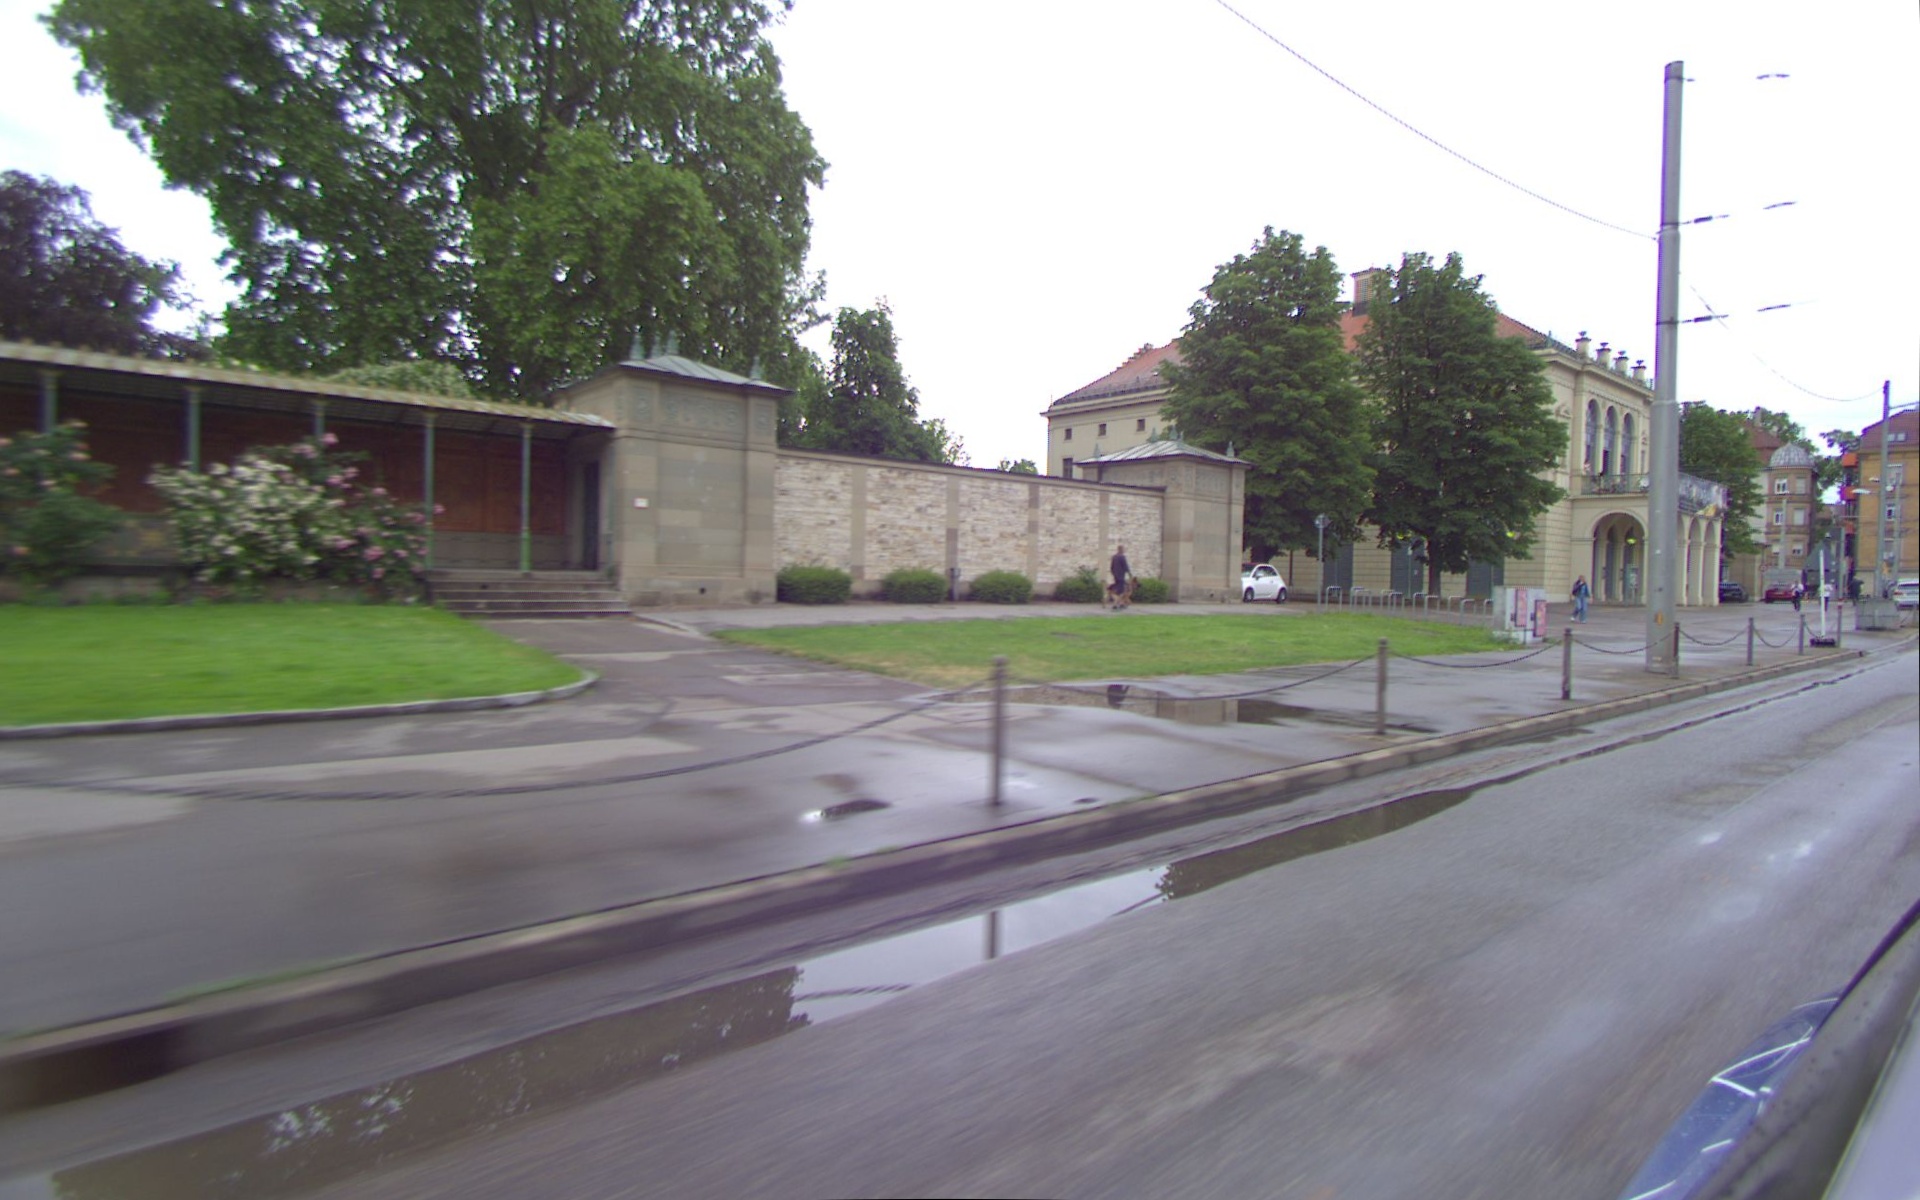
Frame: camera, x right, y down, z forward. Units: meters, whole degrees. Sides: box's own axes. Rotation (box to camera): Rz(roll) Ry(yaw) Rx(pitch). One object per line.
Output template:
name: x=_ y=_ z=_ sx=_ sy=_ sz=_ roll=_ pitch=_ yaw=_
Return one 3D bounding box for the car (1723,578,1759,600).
car: x=59.491 y=-0.875 z=77.074 sx=1.858 sy=1.567 sz=4.004 roll=1 pitch=2 yaw=43

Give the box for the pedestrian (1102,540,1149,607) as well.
pedestrian: x=4.343 y=-0.703 z=26.560 sx=0.964 sy=1.732 sz=0.730 roll=0 pitch=2 yaw=-40

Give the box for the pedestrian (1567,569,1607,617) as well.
pedestrian: x=21.478 y=-0.248 z=34.686 sx=0.654 sy=1.610 sz=0.868 roll=1 pitch=2 yaw=-14

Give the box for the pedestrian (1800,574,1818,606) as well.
pedestrian: x=43.877 y=-0.529 z=52.297 sx=0.627 sy=1.665 sz=0.769 roll=2 pitch=2 yaw=43

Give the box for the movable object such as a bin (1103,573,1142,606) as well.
movable object such as a bin: x=4.407 y=-0.285 z=27.395 sx=1.170 sy=0.883 sz=0.343 roll=-1 pitch=2 yaw=-40

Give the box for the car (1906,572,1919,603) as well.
car: x=53.542 y=-0.757 z=55.822 sx=1.839 sy=1.660 sz=4.076 roll=-3 pitch=-1 yaw=45

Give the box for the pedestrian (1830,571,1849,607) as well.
pedestrian: x=44.170 y=-0.568 z=50.840 sx=0.825 sy=1.757 sz=0.594 roll=-1 pitch=2 yaw=-43

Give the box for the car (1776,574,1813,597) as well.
car: x=61.459 y=-1.096 z=74.513 sx=1.826 sy=1.602 sz=3.938 roll=2 pitch=3 yaw=43

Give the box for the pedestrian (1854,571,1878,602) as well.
pedestrian: x=53.391 y=-0.809 z=59.644 sx=0.768 sy=1.829 sz=0.696 roll=-1 pitch=1 yaw=9

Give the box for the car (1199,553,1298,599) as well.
car: x=10.636 y=-0.865 z=37.199 sx=3.534 sy=1.473 sz=1.840 roll=2 pitch=1 yaw=-41

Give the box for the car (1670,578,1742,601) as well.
car: x=52.576 y=-0.780 z=71.357 sx=1.697 sy=1.487 sz=3.744 roll=-1 pitch=3 yaw=-38

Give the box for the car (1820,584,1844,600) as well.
car: x=96.267 y=-0.918 z=111.767 sx=1.826 sy=1.602 sz=3.938 roll=2 pitch=3 yaw=43
